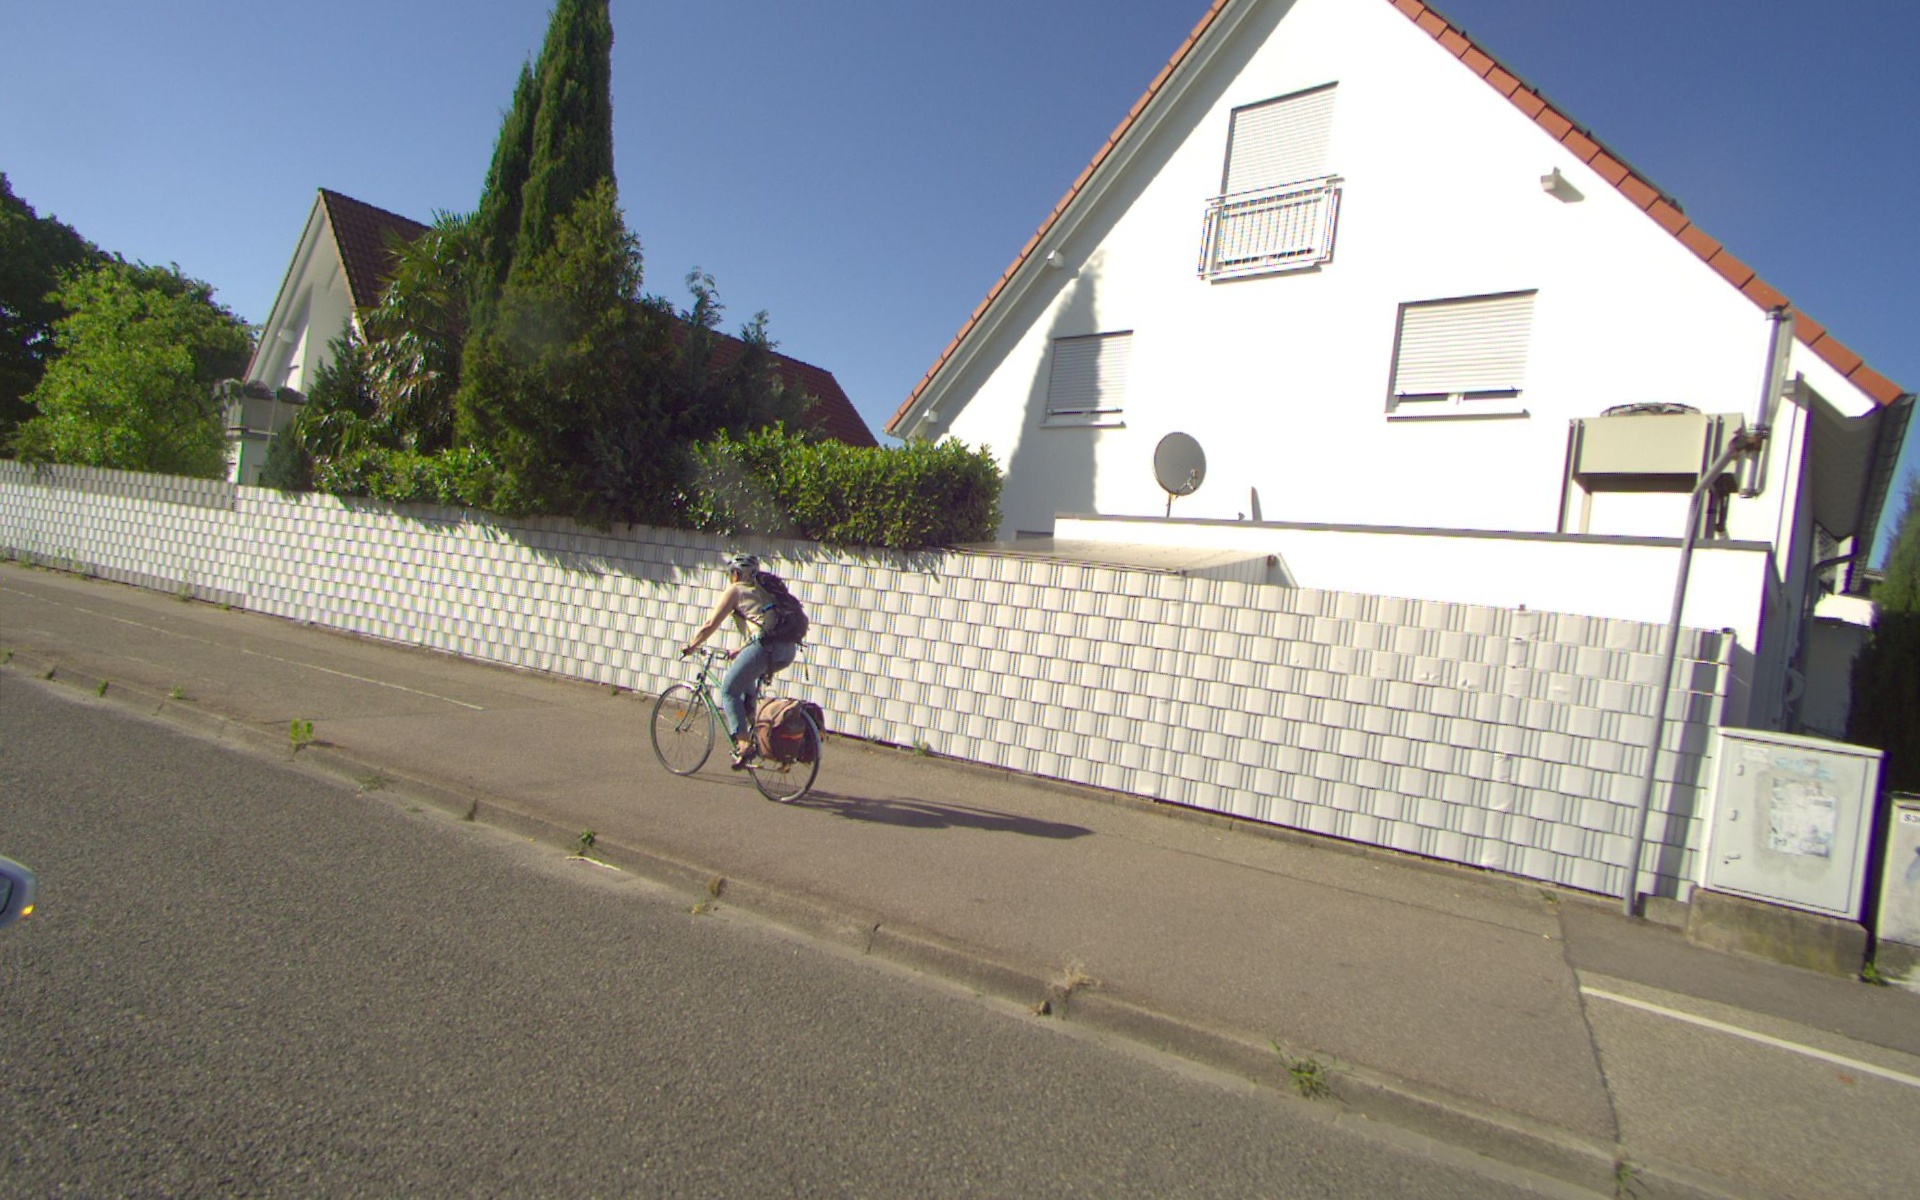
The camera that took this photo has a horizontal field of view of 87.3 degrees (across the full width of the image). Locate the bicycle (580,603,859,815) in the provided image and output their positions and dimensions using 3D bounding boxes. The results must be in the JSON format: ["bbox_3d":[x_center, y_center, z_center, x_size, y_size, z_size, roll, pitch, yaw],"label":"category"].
[{"bbox_3d":[-1.798,0.728,7.334,2.105,1.170,0.574,7,2,32],"label":"bicycle"}]

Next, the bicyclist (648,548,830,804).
[{"bbox_3d":[-1.586,0.512,7.227,0.965,1.654,0.630,7,2,31],"label":"bicyclist"}]

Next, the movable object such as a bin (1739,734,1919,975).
[{"bbox_3d":[5.534,1.518,6.187,1.046,1.220,1.002,5,-1,36],"label":"movable object such as a bin"}]
